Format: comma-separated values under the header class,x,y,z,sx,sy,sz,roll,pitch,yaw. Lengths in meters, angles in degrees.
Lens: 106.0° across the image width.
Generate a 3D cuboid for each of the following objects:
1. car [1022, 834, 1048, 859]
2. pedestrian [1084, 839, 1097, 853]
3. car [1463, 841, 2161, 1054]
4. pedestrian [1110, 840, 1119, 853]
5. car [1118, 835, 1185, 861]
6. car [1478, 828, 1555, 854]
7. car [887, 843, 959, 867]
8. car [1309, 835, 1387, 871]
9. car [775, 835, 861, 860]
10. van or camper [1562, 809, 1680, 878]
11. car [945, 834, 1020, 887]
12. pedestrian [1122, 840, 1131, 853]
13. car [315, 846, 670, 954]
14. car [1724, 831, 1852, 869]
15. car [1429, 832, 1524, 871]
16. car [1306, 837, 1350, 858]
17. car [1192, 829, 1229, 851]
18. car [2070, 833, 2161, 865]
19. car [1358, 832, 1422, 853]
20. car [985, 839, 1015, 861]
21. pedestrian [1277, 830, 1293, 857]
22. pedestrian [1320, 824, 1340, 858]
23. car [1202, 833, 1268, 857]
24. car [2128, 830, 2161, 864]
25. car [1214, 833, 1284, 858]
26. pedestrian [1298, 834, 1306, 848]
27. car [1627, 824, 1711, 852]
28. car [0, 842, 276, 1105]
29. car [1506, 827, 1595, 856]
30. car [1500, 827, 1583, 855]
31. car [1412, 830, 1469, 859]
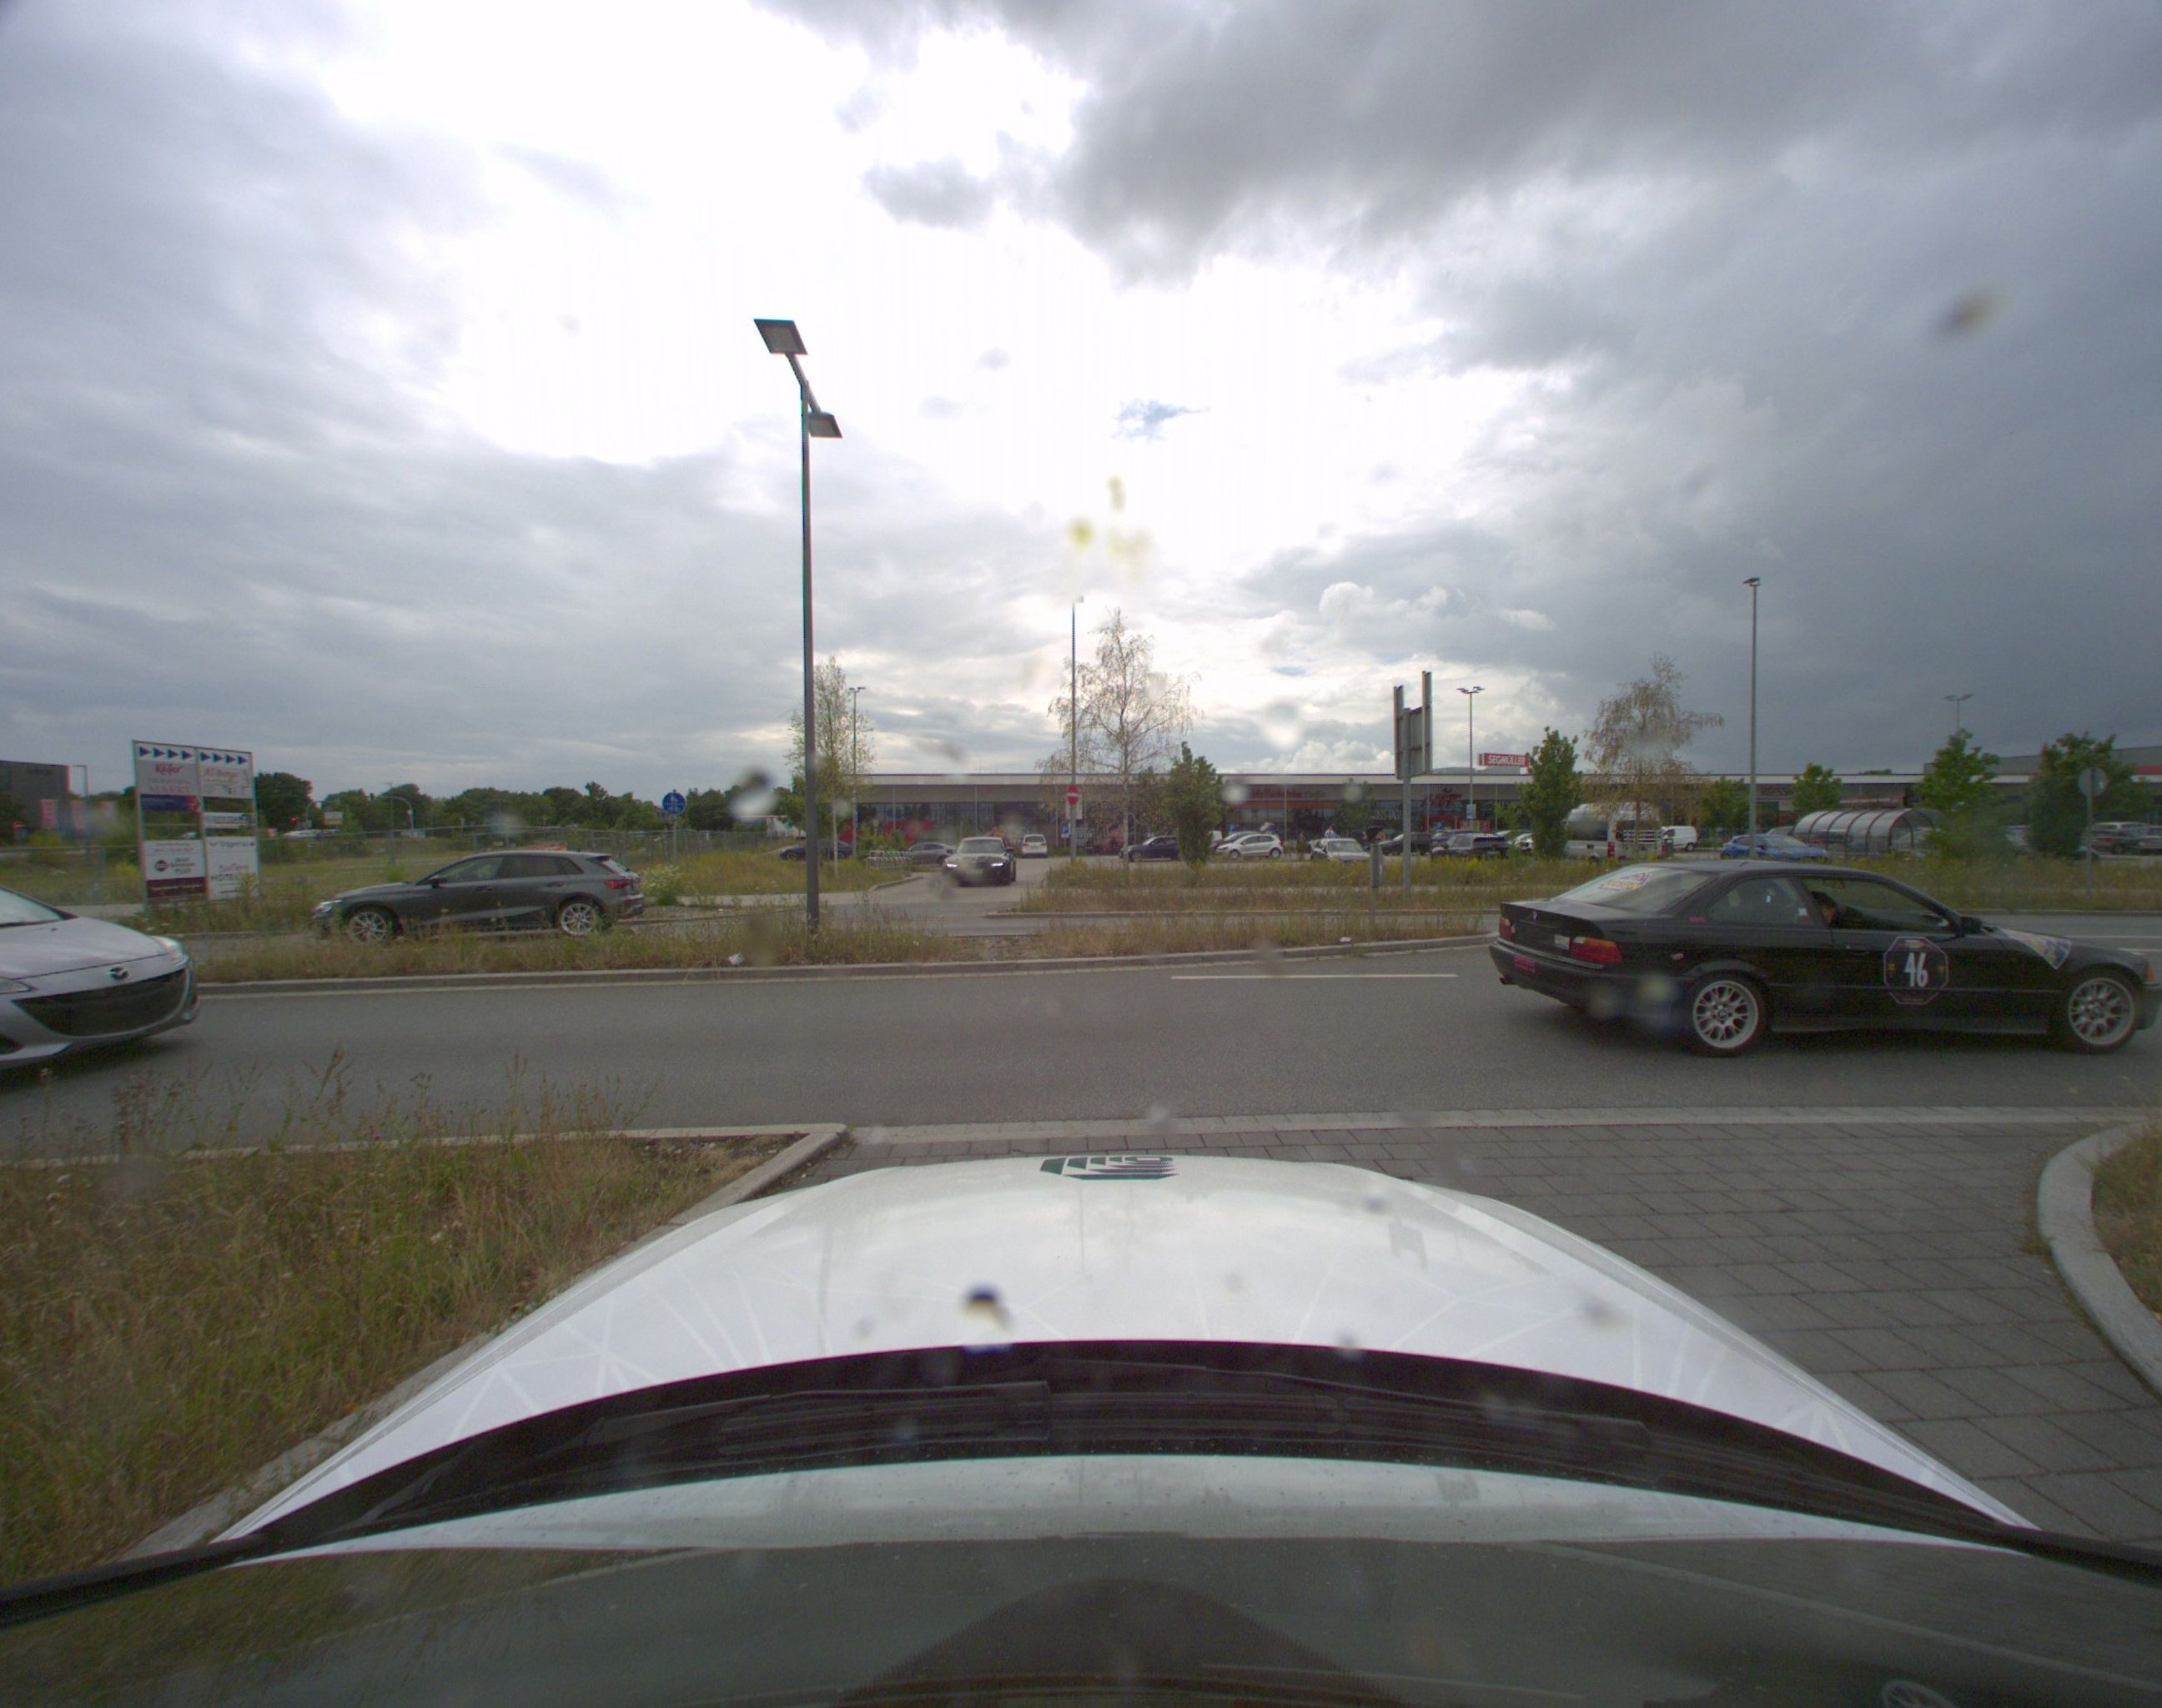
class,x,y,z,sx,sy,sz,roll,pitch,yaw
car,-3.312,-0.598,59.321,1.819,1.699,4.231,-1,2,-2
pedestrian,0.777,-0.662,69.097,0.969,1.154,1.131,-1,1,-7
car,5.576,0.630,6.502,4.275,1.386,1.758,-1,1,-1
pedestrian,2.826,-0.650,68.731,0.576,1.124,0.560,-1,1,-9
car,4.050,-0.356,46.810,3.602,1.454,1.664,-1,2,-6
car,28.104,-0.843,52.624,3.970,1.617,2.002,-1,1,3
car,-9.202,0.059,47.750,3.984,1.352,1.995,0,1,-8
car,10.630,-0.071,32.716,1.980,1.384,4.154,0,1,3
car,-16.893,-0.414,52.476,5.007,1.557,1.994,0,1,-10
van or camper,20.526,-0.407,31.188,2.270,2.492,4.010,0,1,8
car,-2.866,0.140,24.549,1.775,1.445,4.608,-1,1,-1
pedestrian,3.798,-0.640,67.937,0.576,1.124,0.560,-1,1,-9
car,-9.249,0.645,13.289,4.322,1.466,1.785,-1,2,-21
car,27.244,-0.178,31.593,1.794,1.384,4.160,0,1,8
car,15.651,-0.113,32.485,1.980,1.451,4.154,0,1,3
car,18.648,-0.541,61.723,1.989,1.508,3.997,-1,2,-3
car,9.622,-1.066,60.928,1.989,1.508,3.997,-1,1,-3
car,57.971,-0.310,45.625,3.829,1.653,1.755,-1,2,-14
car,22.804,-0.852,60.107,3.979,1.508,1.998,-1,2,-4
car,-5.881,-0.322,59.212,1.902,1.443,3.997,-1,1,-2
pedestrian,12.655,-0.646,50.576,0.819,1.631,0.899,0,1,0
pedestrian,14.896,-0.769,48.708,0.862,2.013,1.003,0,1,0
car,9.519,-0.587,50.535,3.741,1.454,1.665,-1,2,-5
car,57.936,-0.391,42.873,3.991,1.733,1.991,-1,2,-13
car,9.809,-0.512,47.675,3.741,1.454,1.665,-1,2,-5
pedestrian,18.710,-1.111,68.977,0.559,1.201,0.527,-1,1,-5
car,39.077,-1.061,54.187,4.410,1.818,1.995,0,1,-8
car,-8.908,0.758,5.756,4.377,1.562,1.819,-1,3,-4
car,27.005,-0.738,46.920,3.970,1.617,2.002,-1,1,3
car,28.114,-0.814,49.828,3.970,1.617,2.002,-1,1,3
car,20.884,-0.583,47.458,1.806,1.653,4.005,-1,1,4
